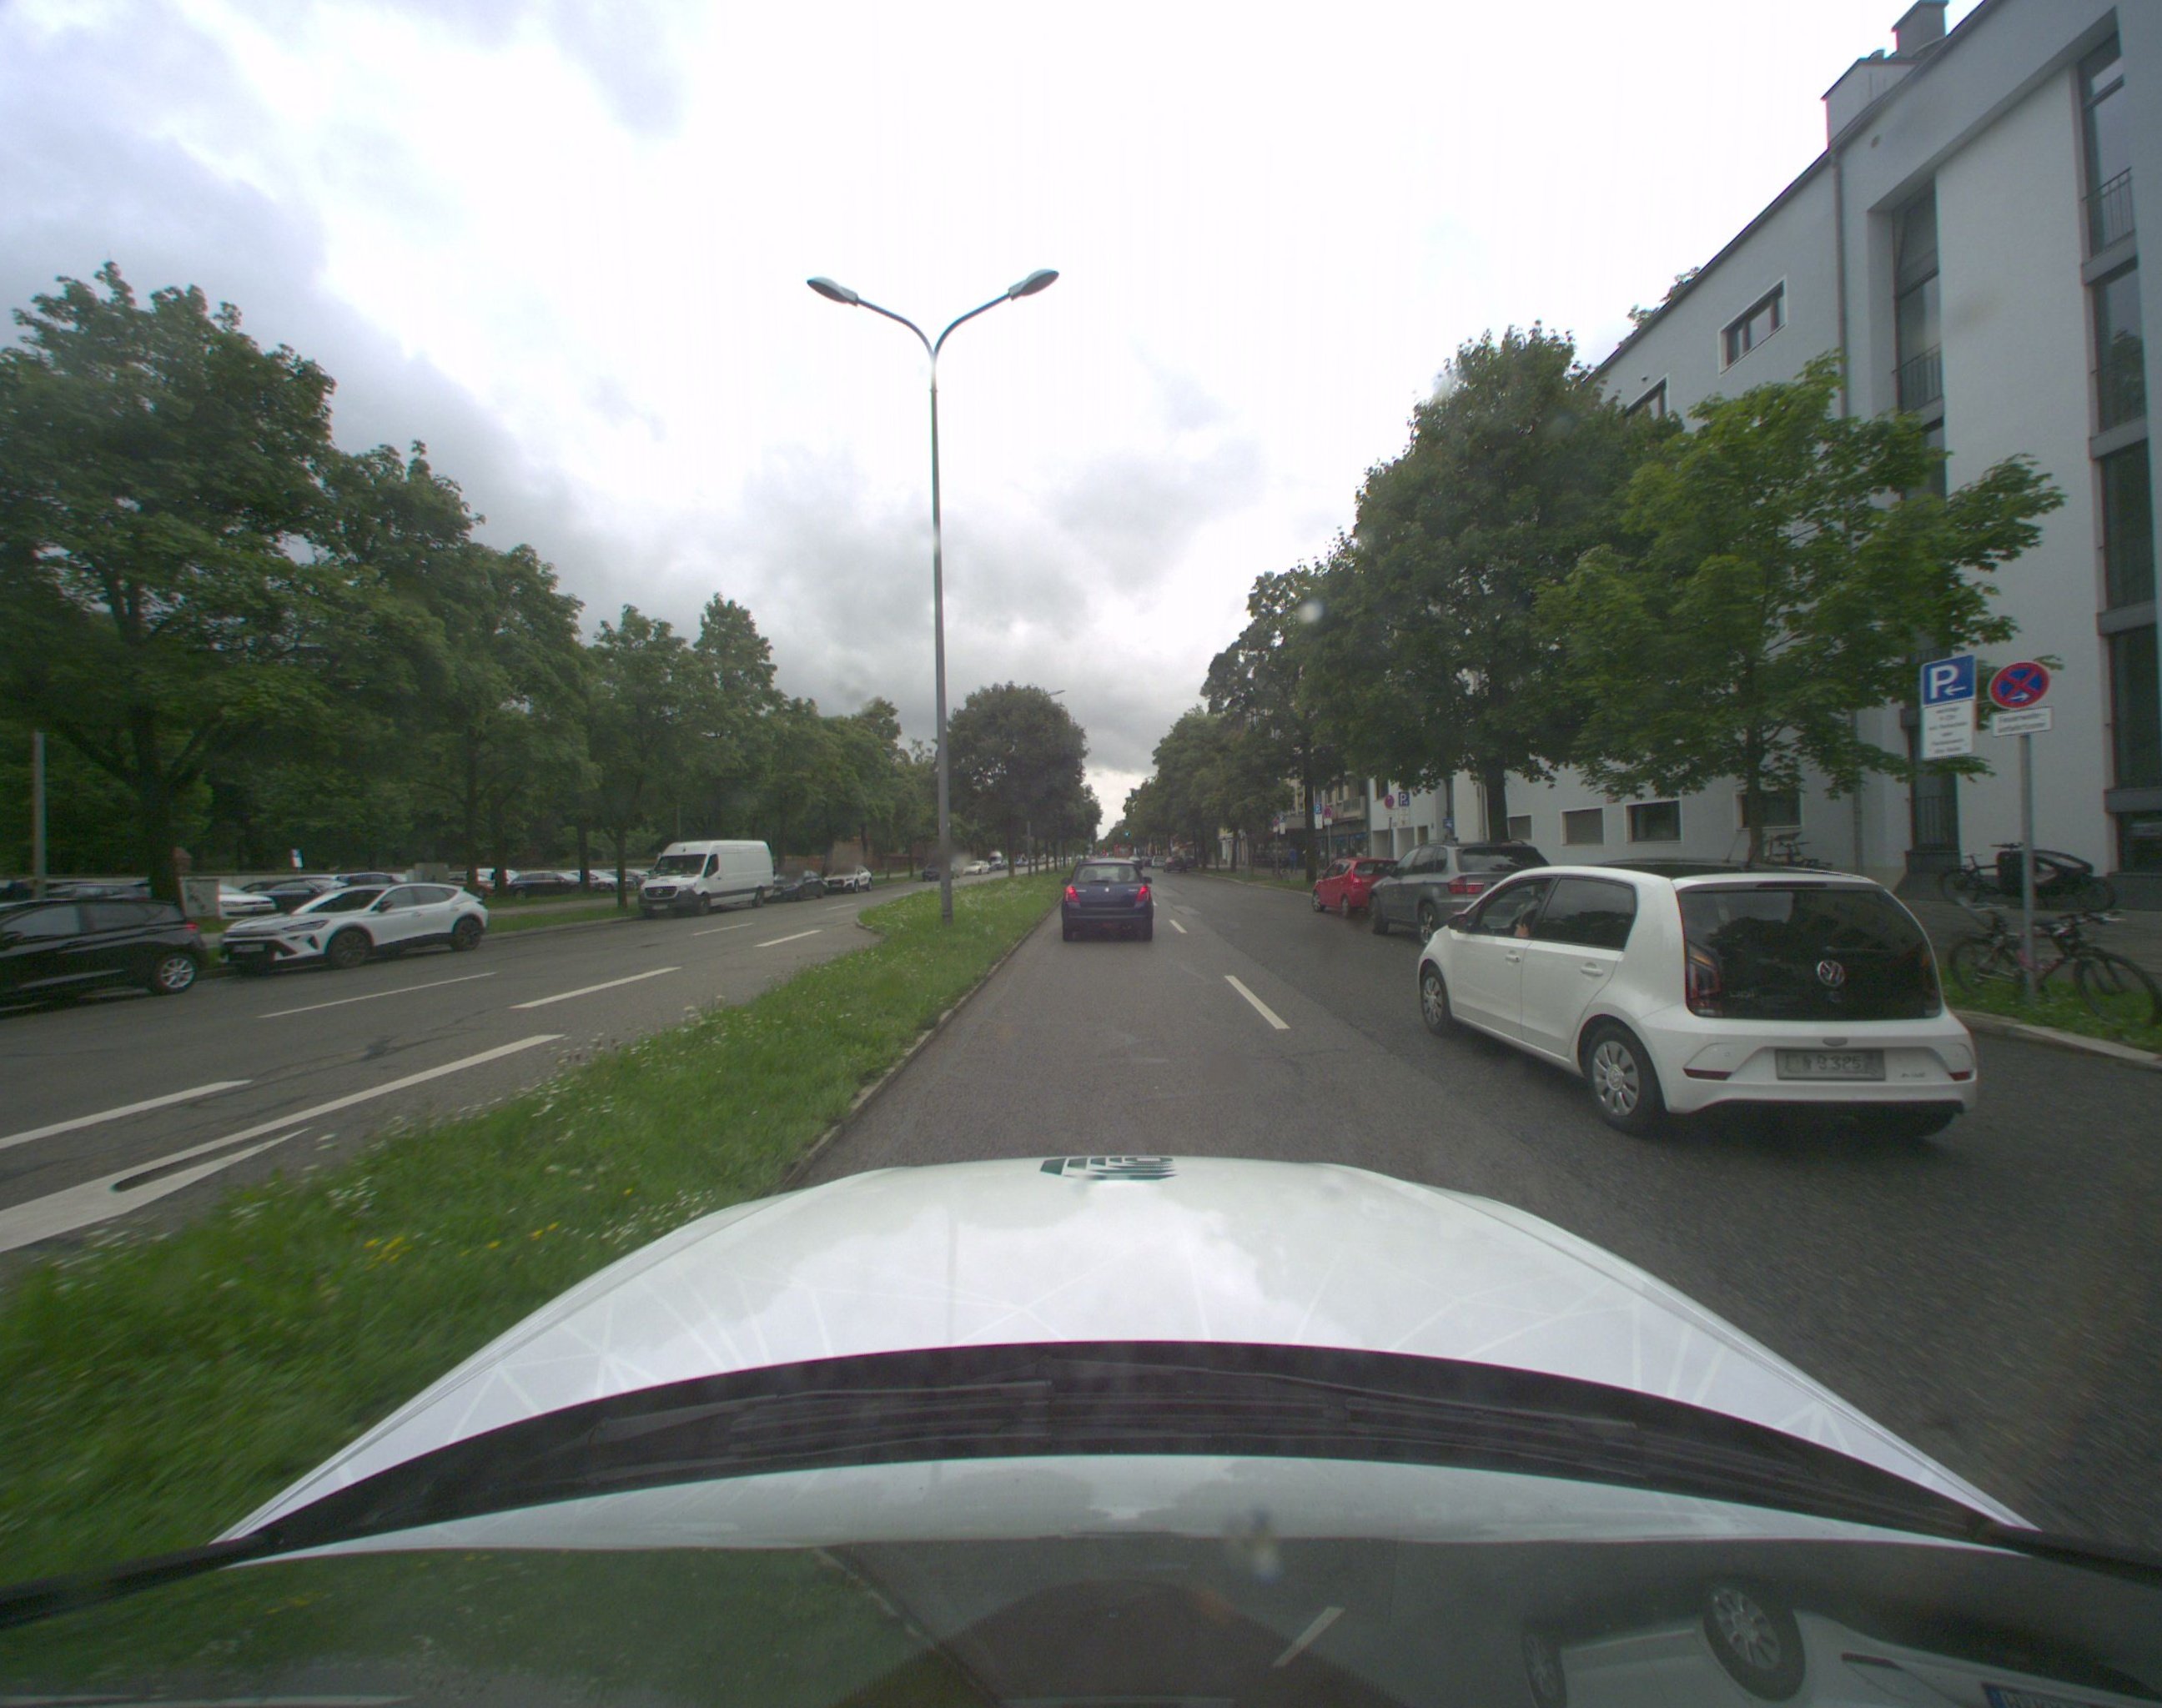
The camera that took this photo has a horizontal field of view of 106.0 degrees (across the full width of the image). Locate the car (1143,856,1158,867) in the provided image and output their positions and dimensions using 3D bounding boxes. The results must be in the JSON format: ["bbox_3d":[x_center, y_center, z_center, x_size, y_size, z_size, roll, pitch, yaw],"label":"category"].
[{"bbox_3d":[9.812,1.032,115.442,1.648,1.452,4.706,-1,0,-1],"label":"car"}]

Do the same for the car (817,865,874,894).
[{"bbox_3d":[-12.945,1.407,44.982,1.851,1.491,4.141,-1,-1,0],"label":"car"}]

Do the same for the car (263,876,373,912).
[{"bbox_3d":[-38.156,1.988,40.767,3.967,1.596,1.773,-2,0,6],"label":"car"}]

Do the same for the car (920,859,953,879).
[{"bbox_3d":[-12.046,1.234,68.126,1.881,1.537,4.313,-4,0,0],"label":"car"}]

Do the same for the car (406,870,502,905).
[{"bbox_3d":[-39.779,2.084,51.768,4.490,2.034,2.000,-1,0,0],"label":"car"}]

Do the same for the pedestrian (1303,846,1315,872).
[{"bbox_3d":[14.533,0.299,51.874,0.547,1.629,0.641,-3,0,1],"label":"pedestrian"}]

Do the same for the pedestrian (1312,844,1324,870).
[{"bbox_3d":[15.118,0.213,52.035,0.539,1.640,0.725,-1,0,1],"label":"pedestrian"}]

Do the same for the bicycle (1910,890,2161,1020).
[{"bbox_3d":[8.442,0.834,7.273,0.384,0.947,1.676,-1,0,2],"label":"bicycle"}]

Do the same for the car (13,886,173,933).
[{"bbox_3d":[-38.114,2.108,31.489,3.974,1.596,1.770,-2,0,-1],"label":"car"}]

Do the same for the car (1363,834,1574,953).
[{"bbox_3d":[6.529,0.594,14.348,1.821,1.746,4.513,-1,0,4],"label":"car"}]

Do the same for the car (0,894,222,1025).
[{"bbox_3d":[-13.945,1.375,10.369,1.817,1.447,3.996,-3,0,-3],"label":"car"}]

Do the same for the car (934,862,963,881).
[{"bbox_3d":[-11.972,1.580,73.815,1.632,1.537,4.316,-4,0,1],"label":"car"}]

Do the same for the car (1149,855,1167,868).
[{"bbox_3d":[9.322,0.893,98.926,1.648,1.452,3.998,-1,0,-1],"label":"car"}]

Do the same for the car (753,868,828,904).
[{"bbox_3d":[-13.228,1.434,37.346,1.851,1.491,4.251,-1,-1,0],"label":"car"}]

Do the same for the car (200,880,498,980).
[{"bbox_3d":[-13.824,1.347,15.814,1.815,1.527,4.298,-3,-1,0],"label":"car"}]

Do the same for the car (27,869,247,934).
[{"bbox_3d":[-25.586,1.267,22.164,3.970,1.570,1.816,-2,0,3],"label":"car"}]

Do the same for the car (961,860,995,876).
[{"bbox_3d":[-11.209,1.521,88.788,1.746,1.537,4.336,-4,0,20],"label":"car"}]

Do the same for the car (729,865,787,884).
[{"bbox_3d":[-26.289,1.679,66.431,3.962,1.392,1.760,-2,0,1],"label":"car"}]

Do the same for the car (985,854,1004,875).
[{"bbox_3d":[-12.908,1.553,121.689,2.179,2.954,6.189,-1,0,-1],"label":"car"}]

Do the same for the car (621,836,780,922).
[{"bbox_3d":[-13.506,0.786,29.655,2.132,2.643,7.108,-3,0,2],"label":"car"}]

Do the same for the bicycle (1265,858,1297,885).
[{"bbox_3d":[9.525,0.813,38.895,0.455,1.256,2.137,-1,0,-17],"label":"bicycle"}]

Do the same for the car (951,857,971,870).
[{"bbox_3d":[-14.715,1.195,99.914,1.807,1.536,4.298,-1,0,1],"label":"car"}]

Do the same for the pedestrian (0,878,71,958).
[{"bbox_3d":[-21.025,1.259,16.190,0.792,1.495,0.856,-2,0,1],"label":"pedestrian"}]

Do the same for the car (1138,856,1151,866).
[{"bbox_3d":[9.828,1.097,125.885,1.648,1.452,3.998,-1,0,-1],"label":"car"}]

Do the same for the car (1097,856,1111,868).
[{"bbox_3d":[2.804,0.968,100.761,1.712,1.501,4.302,-1,0,1],"label":"car"}]

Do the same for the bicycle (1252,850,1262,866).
[{"bbox_3d":[16.188,0.351,75.010,0.578,1.463,1.689,-2,0,2],"label":"bicycle"}]

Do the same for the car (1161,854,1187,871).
[{"bbox_3d":[8.460,0.745,74.386,1.986,1.452,4.002,-1,0,2],"label":"car"}]

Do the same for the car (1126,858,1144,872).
[{"bbox_3d":[6.175,1.267,92.945,1.815,1.477,4.692,1,0,1],"label":"car"}]

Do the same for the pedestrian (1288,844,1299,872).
[{"bbox_3d":[13.517,0.239,51.738,0.498,1.733,0.733,-1,0,1],"label":"pedestrian"}]

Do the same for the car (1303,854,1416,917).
[{"bbox_3d":[7.019,0.737,20.927,1.516,1.441,4.000,-1,0,0],"label":"car"}]

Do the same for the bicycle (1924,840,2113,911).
[{"bbox_3d":[15.644,0.330,13.705,0.619,1.046,2.196,-5,0,2],"label":"bicycle"}]

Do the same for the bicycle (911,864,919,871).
[{"bbox_3d":[-20.561,1.678,101.098,0.653,0.936,1.619,-1,0,-1],"label":"bicycle"}]

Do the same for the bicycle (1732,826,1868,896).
[{"bbox_3d":[15.900,0.141,18.133,0.700,1.407,2.594,-4,0,2],"label":"bicycle"}]

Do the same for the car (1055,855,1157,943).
[{"bbox_3d":[0.523,0.795,16.295,1.746,1.505,4.002,-1,0,2],"label":"car"}]

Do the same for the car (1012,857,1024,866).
[{"bbox_3d":[-11.795,1.369,153.153,1.700,1.534,4.001,-2,0,1],"label":"car"}]

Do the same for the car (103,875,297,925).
[{"bbox_3d":[-27.266,1.392,25.307,3.975,1.338,1.814,-2,0,-1],"label":"car"}]

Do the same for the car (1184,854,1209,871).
[{"bbox_3d":[11.540,0.809,81.718,1.986,1.643,4.335,-1,0,2],"label":"car"}]

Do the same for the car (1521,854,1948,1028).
[{"bbox_3d":[6.922,0.787,9.240,1.823,1.522,3.770,-1,0,0],"label":"car"}]

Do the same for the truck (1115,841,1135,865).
[{"bbox_3d":[7.043,-0.172,131.834,3.029,3.557,13.682,-1,0,2],"label":"truck"}]

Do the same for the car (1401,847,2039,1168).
[{"bbox_3d":[3.729,0.733,5.607,1.681,1.490,3.434,-1,0,0],"label":"car"}]

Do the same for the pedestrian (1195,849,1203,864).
[{"bbox_3d":[15.044,0.275,103.881,0.790,1.855,0.776,-3,0,-2],"label":"pedestrian"}]
